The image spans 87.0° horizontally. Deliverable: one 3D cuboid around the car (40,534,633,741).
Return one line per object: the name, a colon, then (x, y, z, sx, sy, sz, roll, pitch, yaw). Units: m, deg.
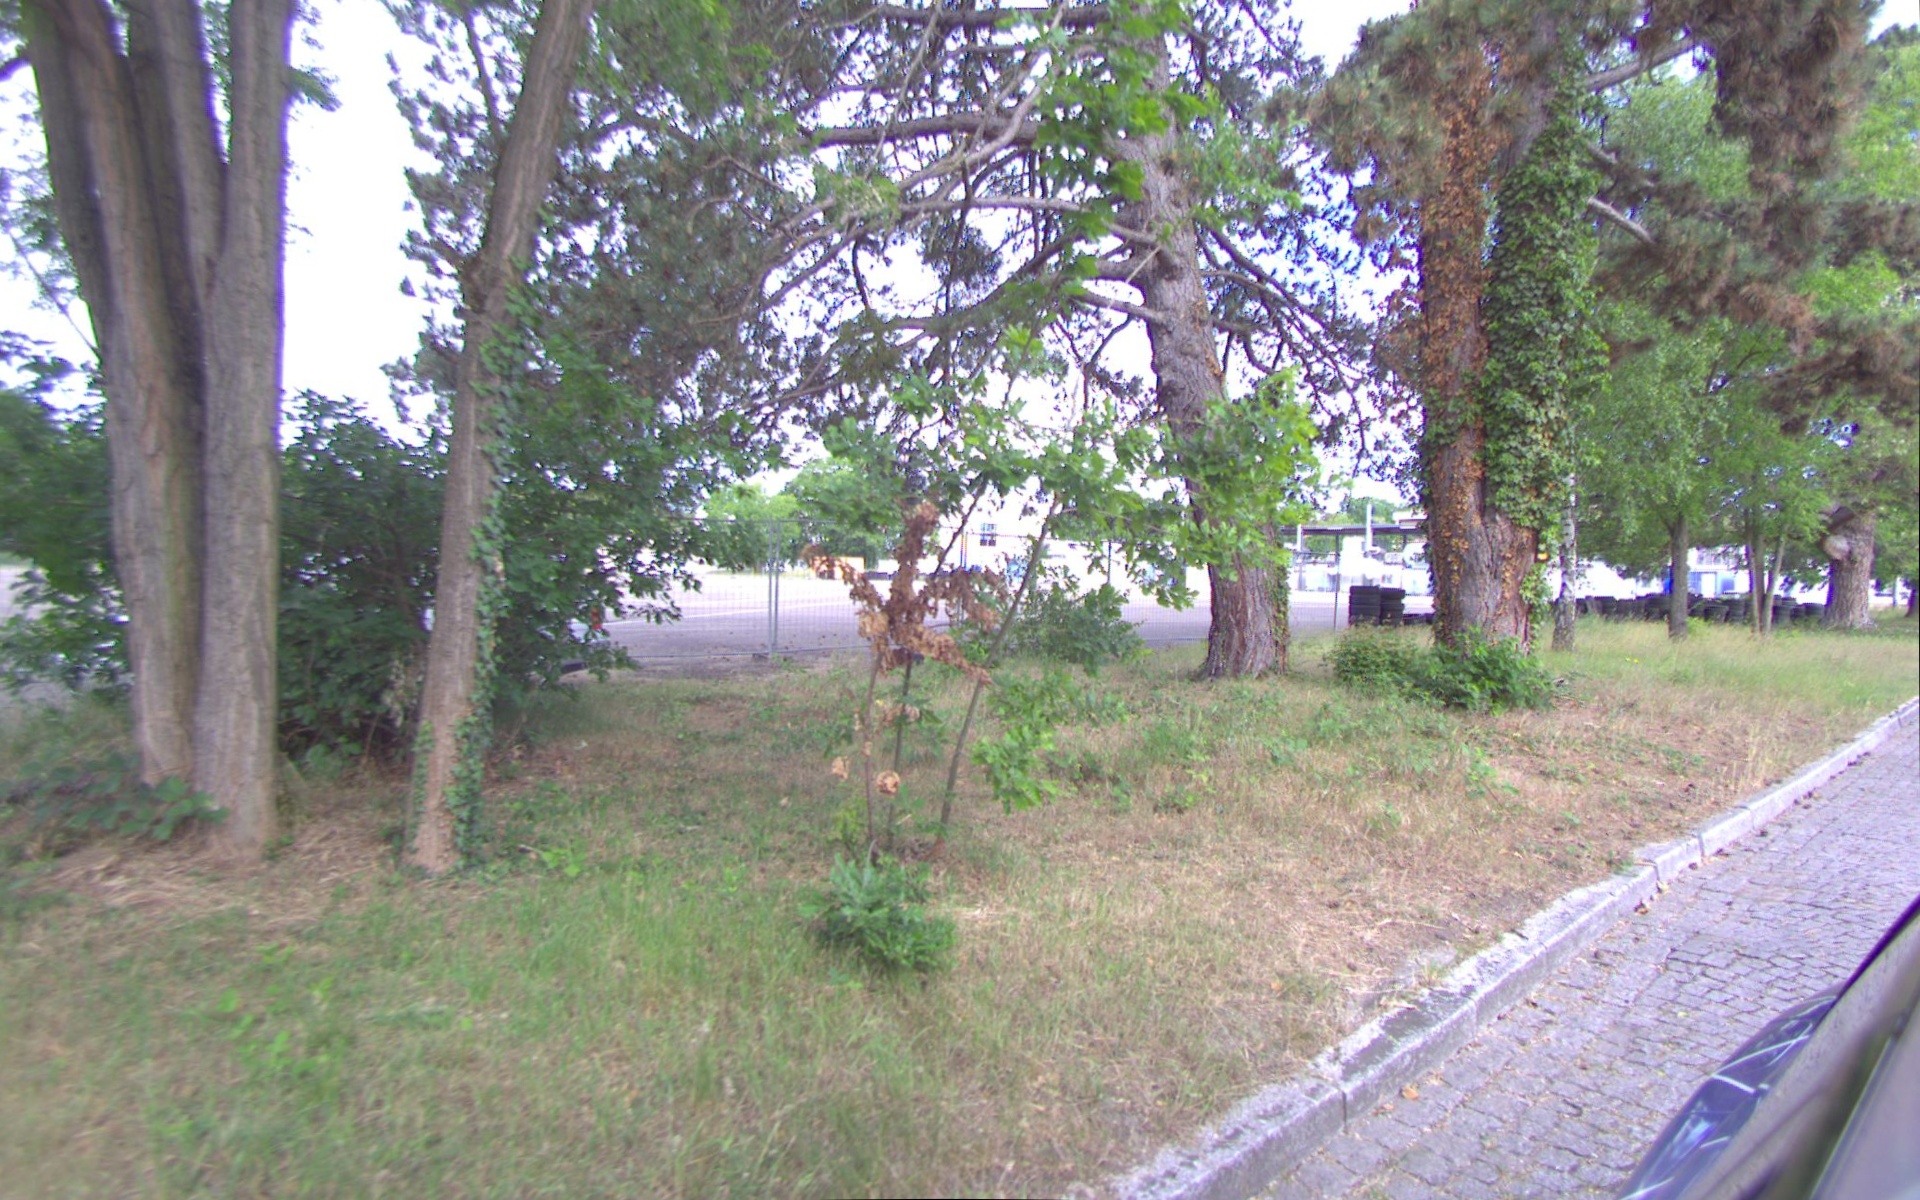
car: (-5.478, 0.223, 9.327, 4.415, 1.468, 1.675, -1, 2, -44)
